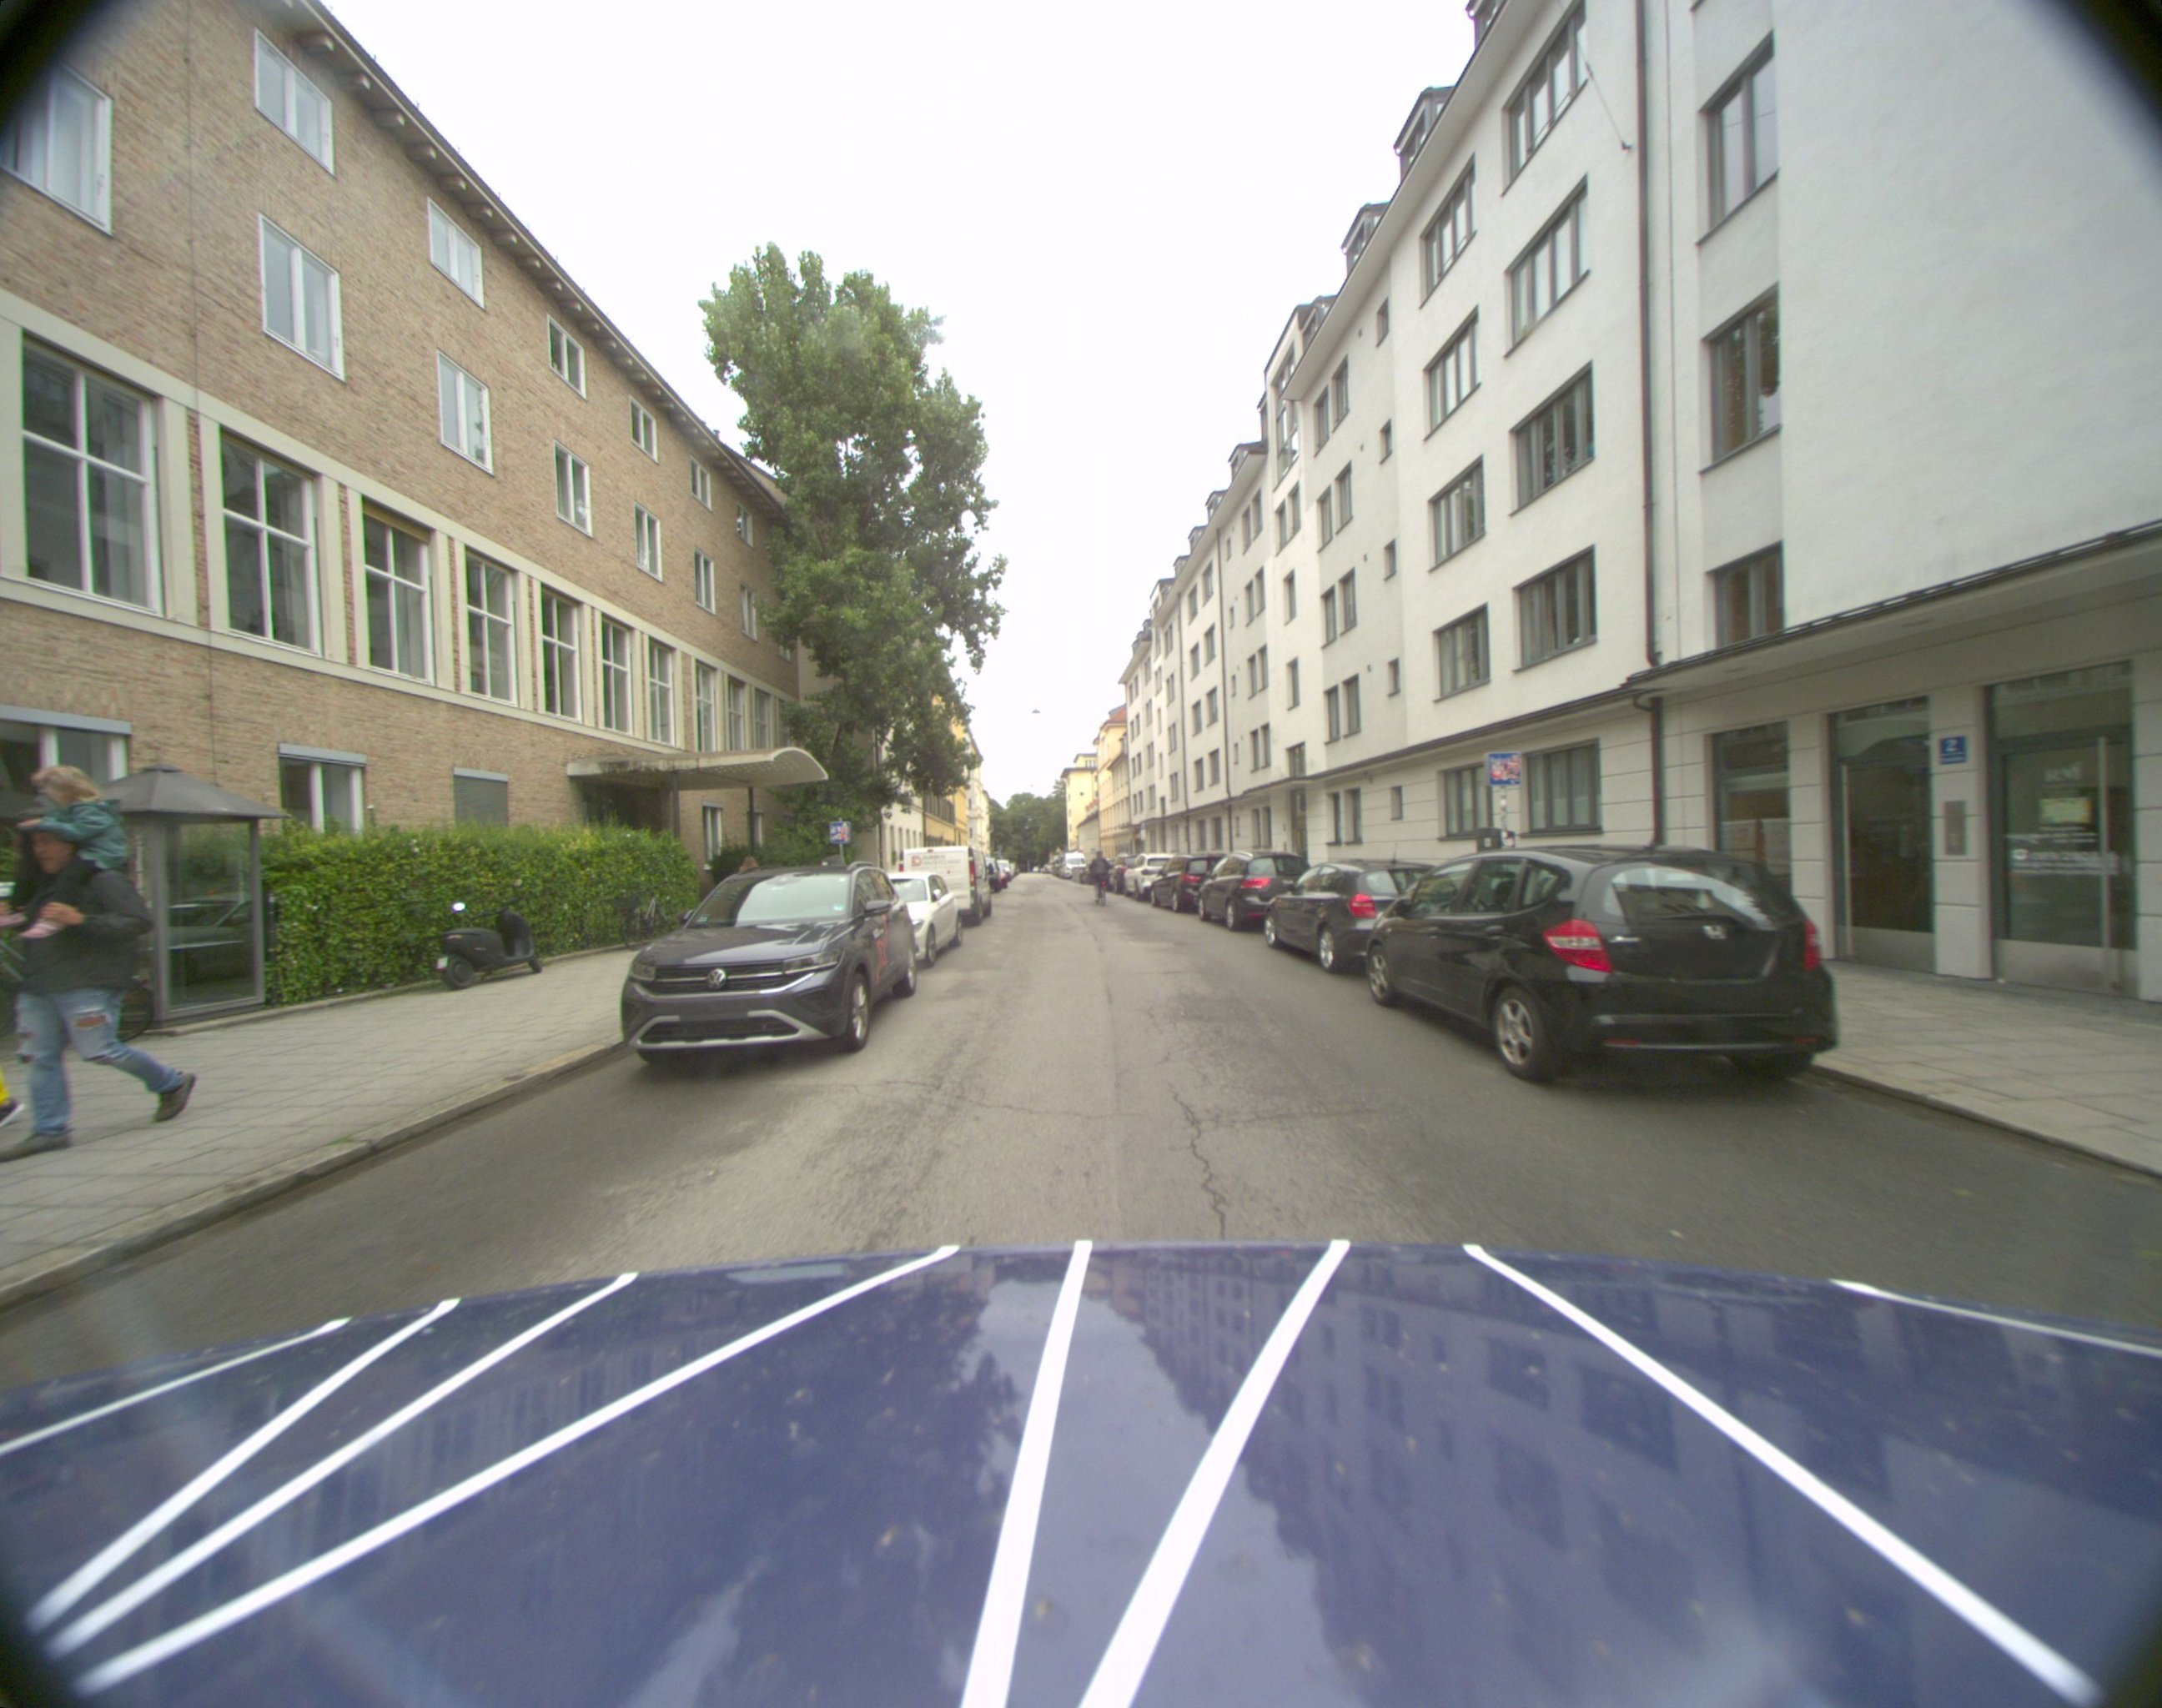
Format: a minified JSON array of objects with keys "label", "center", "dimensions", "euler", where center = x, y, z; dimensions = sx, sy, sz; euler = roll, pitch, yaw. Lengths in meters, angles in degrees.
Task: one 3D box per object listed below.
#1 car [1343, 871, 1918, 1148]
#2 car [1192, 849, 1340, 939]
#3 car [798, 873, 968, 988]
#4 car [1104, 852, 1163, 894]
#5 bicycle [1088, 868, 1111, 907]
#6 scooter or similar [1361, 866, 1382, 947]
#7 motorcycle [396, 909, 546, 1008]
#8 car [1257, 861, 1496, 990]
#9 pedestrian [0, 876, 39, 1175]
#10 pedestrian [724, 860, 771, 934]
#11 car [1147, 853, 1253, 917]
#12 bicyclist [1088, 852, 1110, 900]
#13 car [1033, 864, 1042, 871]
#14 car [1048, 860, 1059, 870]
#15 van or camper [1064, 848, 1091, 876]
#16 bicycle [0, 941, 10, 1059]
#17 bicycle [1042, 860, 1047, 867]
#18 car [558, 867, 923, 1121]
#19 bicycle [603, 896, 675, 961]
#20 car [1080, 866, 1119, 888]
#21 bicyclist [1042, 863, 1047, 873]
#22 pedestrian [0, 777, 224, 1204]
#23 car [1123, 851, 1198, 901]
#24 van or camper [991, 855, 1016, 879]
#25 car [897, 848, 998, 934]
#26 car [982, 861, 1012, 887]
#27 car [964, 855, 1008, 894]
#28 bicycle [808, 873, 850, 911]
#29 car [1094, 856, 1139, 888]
[{"label":"car","center":[3.646,0.882,6.095],"dimensions":[1.755,1.445,4.016],"euler":[-1,-1,1]},{"label":"car","center":[3.739,0.775,16.150],"dimensions":[1.878,1.648,4.079],"euler":[-1,-1,-4]},{"label":"car","center":[-3.045,1.109,12.587],"dimensions":[1.678,1.409,4.201],"euler":[-3,0,0]},{"label":"car","center":[2.199,0.796,32.972],"dimensions":[1.878,1.678,4.519],"euler":[-1,-1,-5]},{"label":"bicycle","center":[0.606,1.104,25.340],"dimensions":[0.650,1.190,1.950],"euler":[-1,0,-2]},{"label":"scooter or similar","center":[5.133,0.900,13.391],"dimensions":[0.226,1.347,1.121],"euler":[-1,0,26]},{"label":"motorcycle","center":[-8.027,1.330,10.119],"dimensions":[0.489,1.047,1.923],"euler":[-3,0,-3]},{"label":"car","center":[3.838,0.841,10.678],"dimensions":[1.755,1.445,4.015],"euler":[-1,-1,-1]},{"label":"pedestrian","center":[-6.581,0.970,4.160],"dimensions":[0.859,1.683,0.752],"euler":[1,1,16]},{"label":"pedestrian","center":[-7.578,0.957,17.308],"dimensions":[0.589,1.623,0.877],"euler":[-3,0,1]},{"label":"car","center":[3.309,0.848,22.093],"dimensions":[1.878,1.648,4.588],"euler":[-1,-1,-7]},{"label":"bicyclist","center":[0.588,0.708,25.119],"dimensions":[0.659,1.542,0.887],"euler":[-2,1,-1]},{"label":"car","center":[-9.633,2.916,168.262],"dimensions":[1.794,1.409,3.904],"euler":[-1,0,-4]},{"label":"car","center":[-4.491,1.833,123.810],"dimensions":[1.712,1.490,3.999],"euler":[-2,0,-4]},{"label":"van or camper","center":[-0.339,0.685,66.721],"dimensions":[1.999,2.297,5.476],"euler":[-1,0,-4]},{"label":"bicycle","center":[-10.323,1.298,6.520],"dimensions":[1.634,1.036,0.348],"euler":[-1,0,-3]},{"label":"bicycle","center":[-5.887,1.520,122.553],"dimensions":[0.734,1.144,1.999],"euler":[-2,0,-5]},{"label":"car","center":[-2.738,0.992,7.199],"dimensions":[1.752,1.584,3.954],"euler":[-3,0,-3]},{"label":"bicycle","center":[-8.126,1.342,14.045],"dimensions":[0.423,1.047,1.488],"euler":[-3,0,0]},{"label":"car","center":[1.147,1.424,48.595],"dimensions":[1.644,1.346,4.055],"euler":[-1,-1,-10]},{"label":"bicyclist","center":[-5.849,2.297,122.487],"dimensions":[0.688,1.617,0.852],"euler":[-3,0,-5]},{"label":"pedestrian","center":[-5.755,0.697,4.359],"dimensions":[0.812,2.185,0.797],"euler":[0,1,15]},{"label":"car","center":[2.787,0.765,27.737],"dimensions":[1.878,1.648,4.589],"euler":[-1,-1,-5]},{"label":"van or camper","center":[-6.777,1.127,66.892],"dimensions":[1.999,2.002,5.231],"euler":[-2,0,-5]},{"label":"car","center":[-3.357,0.860,20.014],"dimensions":[1.887,1.913,4.873],"euler":[-2,0,-2]},{"label":"car","center":[-5.127,1.210,46.687],"dimensions":[1.718,1.415,4.455],"euler":[-2,0,-5]},{"label":"car","center":[-4.877,1.026,39.544],"dimensions":[1.851,1.766,4.199],"euler":[-4,0,-3]},{"label":"bicycle","center":[-7.762,1.149,23.479],"dimensions":[0.672,1.067,2.223],"euler":[-2,0,-4]},{"label":"car","center":[1.741,0.908,38.905],"dimensions":[1.778,1.530,4.158],"euler":[-1,-1,-5]}]
